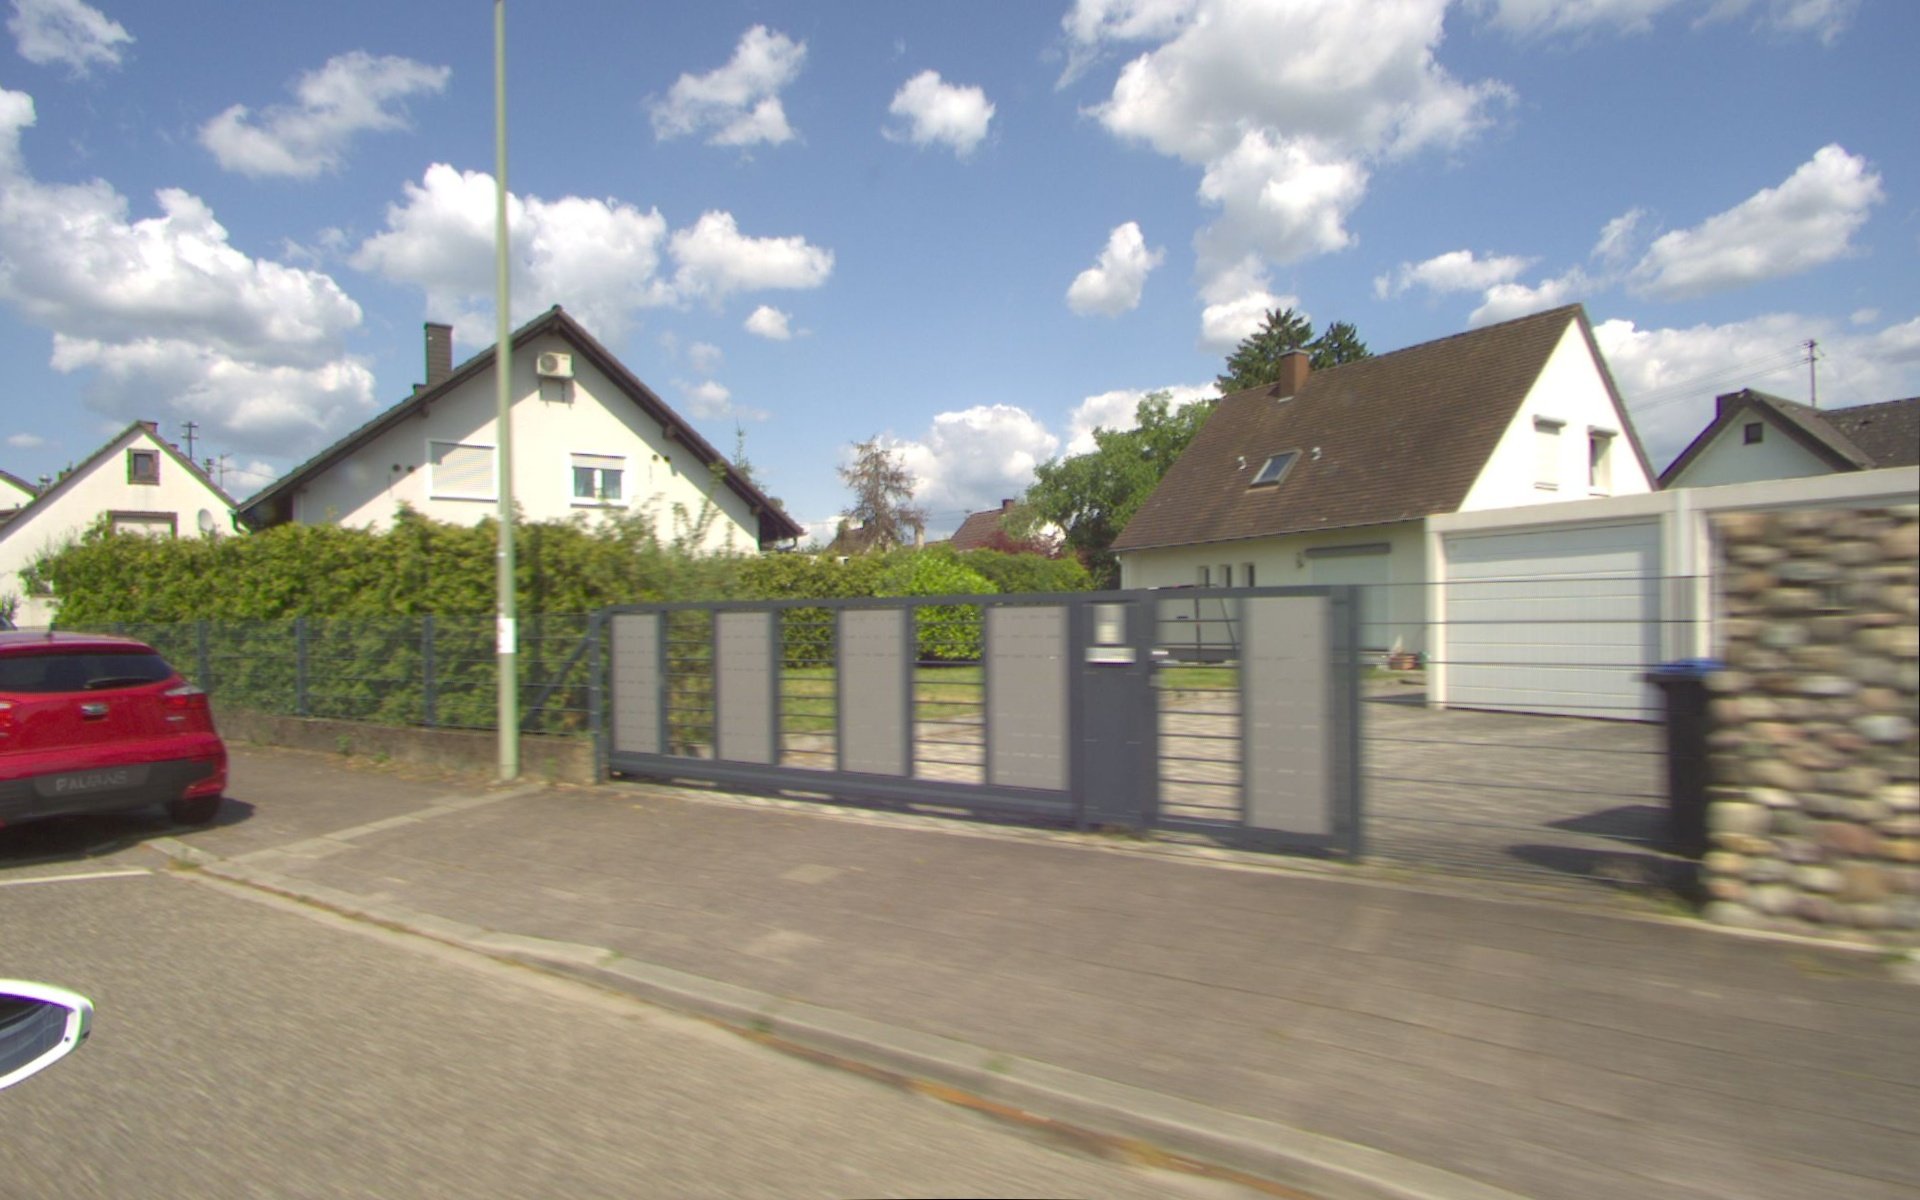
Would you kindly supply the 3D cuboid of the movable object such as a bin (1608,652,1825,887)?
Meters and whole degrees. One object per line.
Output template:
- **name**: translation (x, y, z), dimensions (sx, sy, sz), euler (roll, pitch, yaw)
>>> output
- **movable object such as a bin**: translation (3.944, 0.822, 5.229), dimensions (0.769, 1.072, 0.760), euler (1, -1, -41)

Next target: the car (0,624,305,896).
- **car**: translation (-6.899, 0.931, 7.297), dimensions (4.686, 1.481, 1.689), euler (-1, -2, 31)

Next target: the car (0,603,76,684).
- **car**: translation (-24.470, 1.066, 25.087), dimensions (4.942, 1.890, 1.855), euler (-1, -1, 28)

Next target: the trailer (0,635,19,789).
- **trailer**: translation (-10.894, 1.033, 9.639), dimensions (4.368, 1.395, 1.605), euler (-1, -2, 32)
